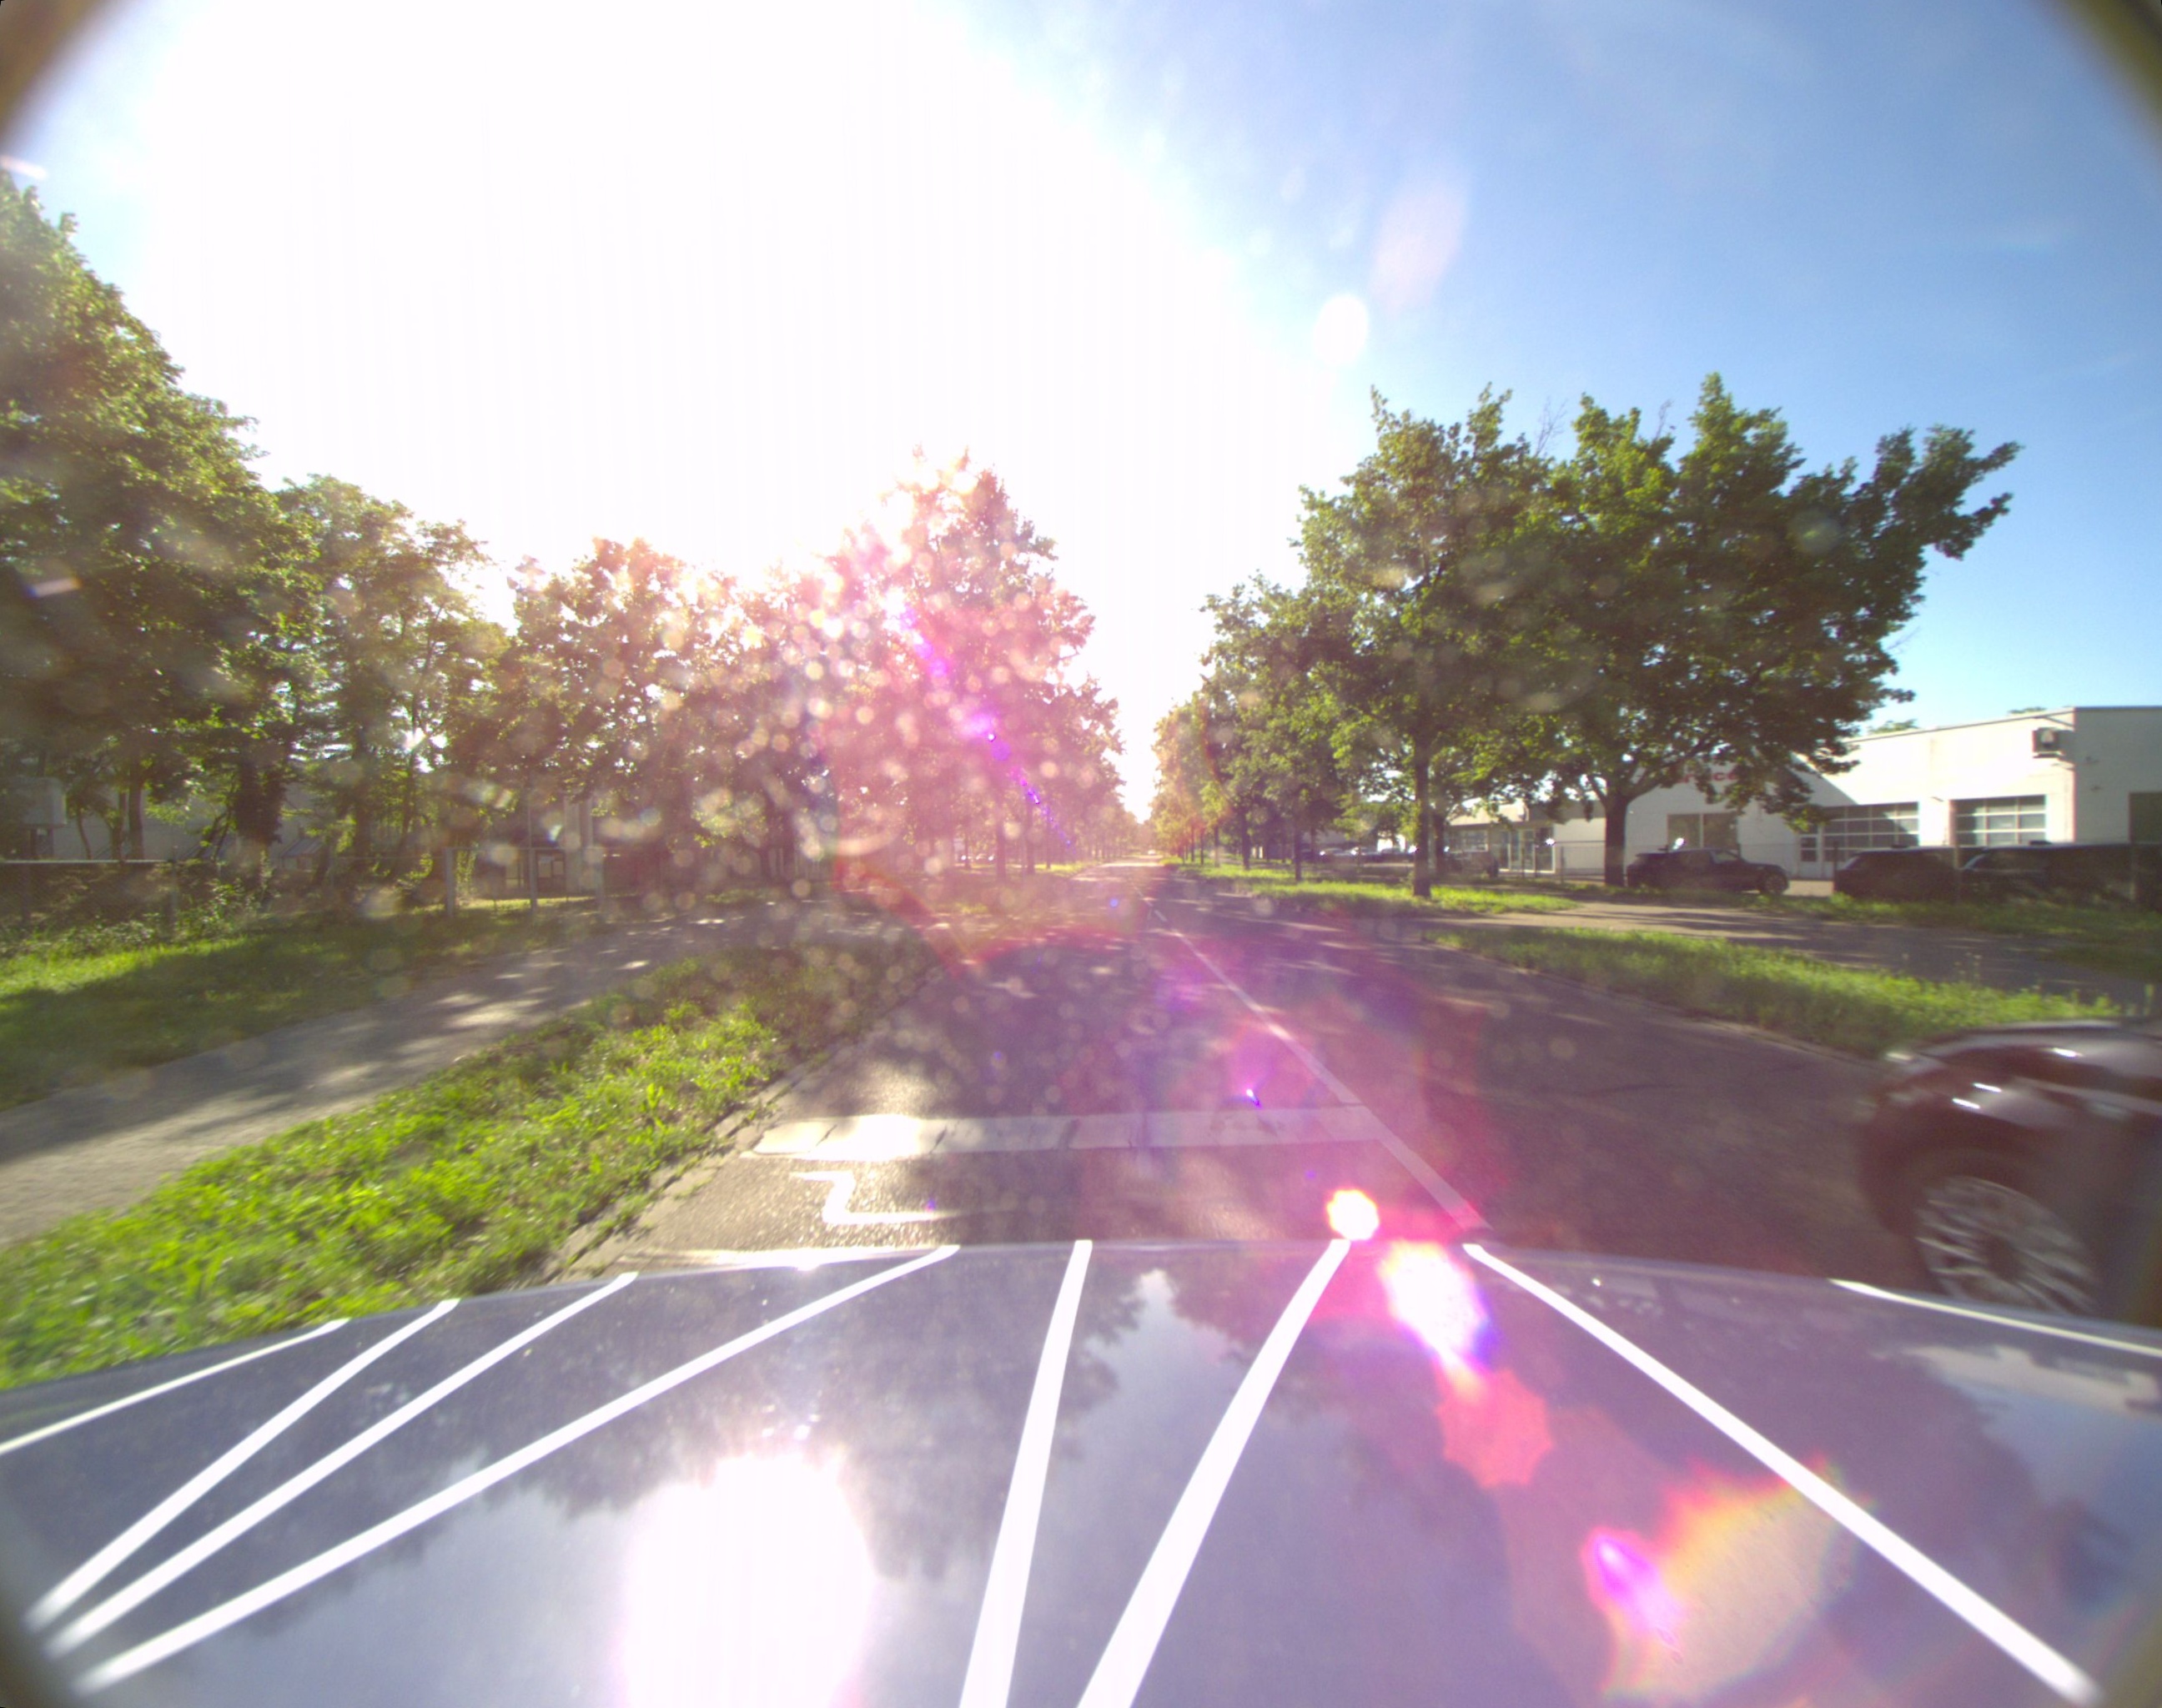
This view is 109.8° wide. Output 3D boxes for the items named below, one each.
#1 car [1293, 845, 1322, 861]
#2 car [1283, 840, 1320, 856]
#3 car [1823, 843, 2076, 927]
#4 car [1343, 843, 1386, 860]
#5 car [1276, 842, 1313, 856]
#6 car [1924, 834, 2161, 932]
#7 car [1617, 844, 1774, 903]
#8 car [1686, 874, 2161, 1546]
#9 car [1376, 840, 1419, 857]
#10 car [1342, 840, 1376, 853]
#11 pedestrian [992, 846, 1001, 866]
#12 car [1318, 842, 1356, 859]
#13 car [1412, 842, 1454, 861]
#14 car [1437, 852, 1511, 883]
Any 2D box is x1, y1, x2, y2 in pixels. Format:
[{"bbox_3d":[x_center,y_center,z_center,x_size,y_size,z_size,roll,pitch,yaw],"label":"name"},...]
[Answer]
[{"bbox_3d":[22.632,-0.112,75.892,2.569,1.461,1.427,-1,1,21],"label":"car"},{"bbox_3d":[26.569,-0.724,91.692,3.995,1.732,2.001,-3,1,8],"label":"car"},{"bbox_3d":[21.901,0.734,19.297,4.201,1.791,1.999,-3,1,-1],"label":"car"},{"bbox_3d":[31.562,-0.313,84.731,2.000,1.708,5.254,-3,1,-10],"label":"car"},{"bbox_3d":[27.195,-0.628,96.950,4.319,1.510,1.862,-3,1,7],"label":"car"},{"bbox_3d":[21.447,0.559,16.456,4.201,1.791,1.999,-3,1,-1],"label":"car"},{"bbox_3d":[21.819,0.658,27.088,3.998,1.791,1.999,-3,1,-3],"label":"car"},{"bbox_3d":[3.326,0.889,1.203,1.569,1.496,3.999,-1,1,0],"label":"car"},{"bbox_3d":[35.027,-0.602,84.251,2.000,1.680,5.255,-3,1,-8],"label":"car"},{"bbox_3d":[37.629,-1.022,102.908,3.995,1.510,1.752,-3,1,7],"label":"car"},{"bbox_3d":[-7.146,0.178,64.489,0.609,1.621,0.719,1,1,5],"label":"pedestrian"},{"bbox_3d":[28.561,-0.403,84.781,2.000,1.666,4.494,-3,1,-11],"label":"car"},{"bbox_3d":[32.774,-0.235,70.670,1.994,1.651,5.270,-2,0,43],"label":"car"},{"bbox_3d":[23.558,0.765,45.762,1.998,1.588,5.015,-3,1,3],"label":"car"}]
